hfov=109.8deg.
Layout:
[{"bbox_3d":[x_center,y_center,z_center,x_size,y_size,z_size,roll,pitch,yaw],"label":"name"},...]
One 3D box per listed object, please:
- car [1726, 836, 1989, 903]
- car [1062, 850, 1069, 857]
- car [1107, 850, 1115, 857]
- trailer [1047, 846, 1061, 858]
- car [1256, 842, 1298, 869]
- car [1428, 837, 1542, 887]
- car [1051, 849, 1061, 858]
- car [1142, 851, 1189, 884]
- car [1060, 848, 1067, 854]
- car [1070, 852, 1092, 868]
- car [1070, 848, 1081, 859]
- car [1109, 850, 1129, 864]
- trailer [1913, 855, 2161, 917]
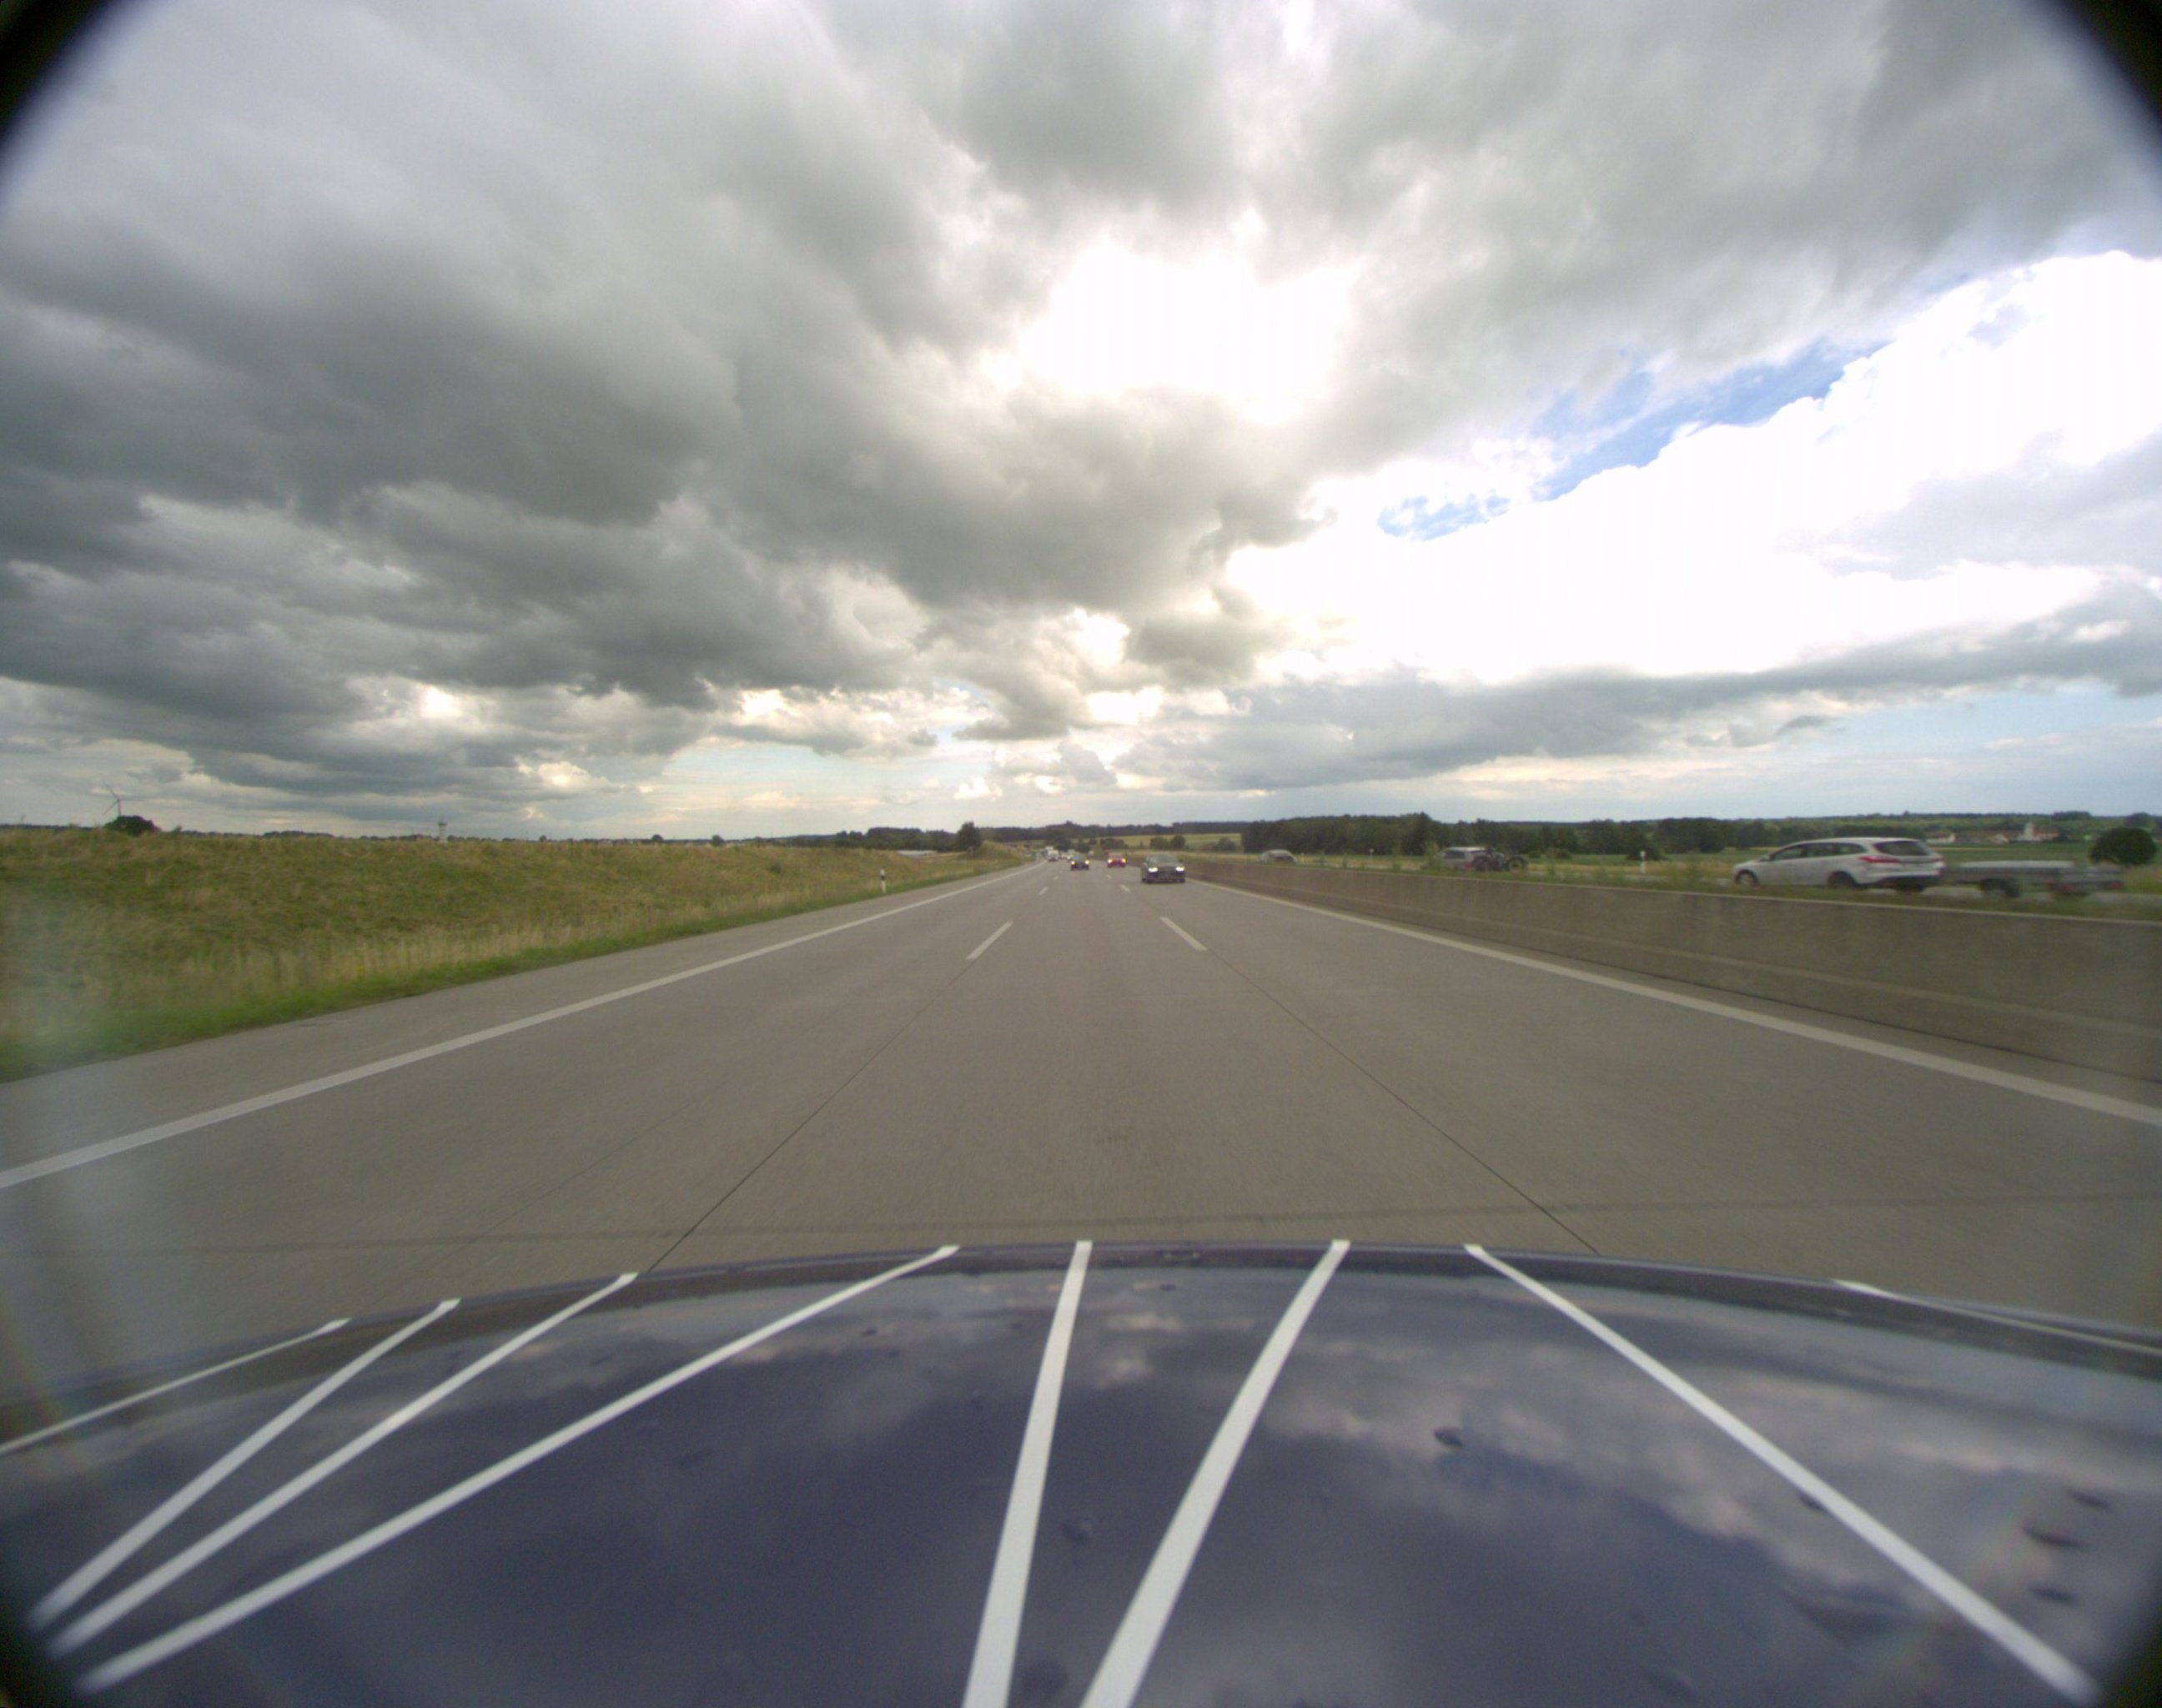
[{"bbox_3d":[19.686,0.303,19.672,1.902,1.462,4.848,-2,1,1],"label":"car"},{"bbox_3d":[-4.480,-0.078,218.226,1.810,2.002,3.840,-3,1,-5],"label":"car"},{"bbox_3d":[8.967,-0.132,228.079,1.999,2.002,4.629,-2,0,-1],"label":"car"},{"bbox_3d":[-6.099,-0.535,171.155,2.616,2.519,6.717,-2,1,-5],"label":"trailer"},{"bbox_3d":[12.621,0.046,49.125,1.614,1.594,4.176,-2,1,1],"label":"car"},{"bbox_3d":[15.393,0.242,29.289,1.906,1.684,4.674,-2,1,1],"label":"car"},{"bbox_3d":[-5.461,-0.148,165.326,1.945,1.799,5.029,-2,1,-5],"label":"car"},{"bbox_3d":[4.062,0.600,37.149,1.939,1.464,4.000,-2,0,1],"label":"car"},{"bbox_3d":[-5.831,-0.929,249.276,1.999,2.002,3.997,-2,1,-5],"label":"car"},{"bbox_3d":[-0.054,0.511,72.873,1.691,1.405,3.997,-2,1,-5],"label":"car"},{"bbox_3d":[-1.127,-0.149,146.871,1.999,2.002,3.999,-2,0,-1],"label":"car"},{"bbox_3d":[3.934,0.298,79.321,1.822,1.364,3.782,-3,1,-1],"label":"car"},{"bbox_3d":[19.747,0.581,15.445,1.791,0.977,3.562,-2,1,1],"label":"trailer"}]
